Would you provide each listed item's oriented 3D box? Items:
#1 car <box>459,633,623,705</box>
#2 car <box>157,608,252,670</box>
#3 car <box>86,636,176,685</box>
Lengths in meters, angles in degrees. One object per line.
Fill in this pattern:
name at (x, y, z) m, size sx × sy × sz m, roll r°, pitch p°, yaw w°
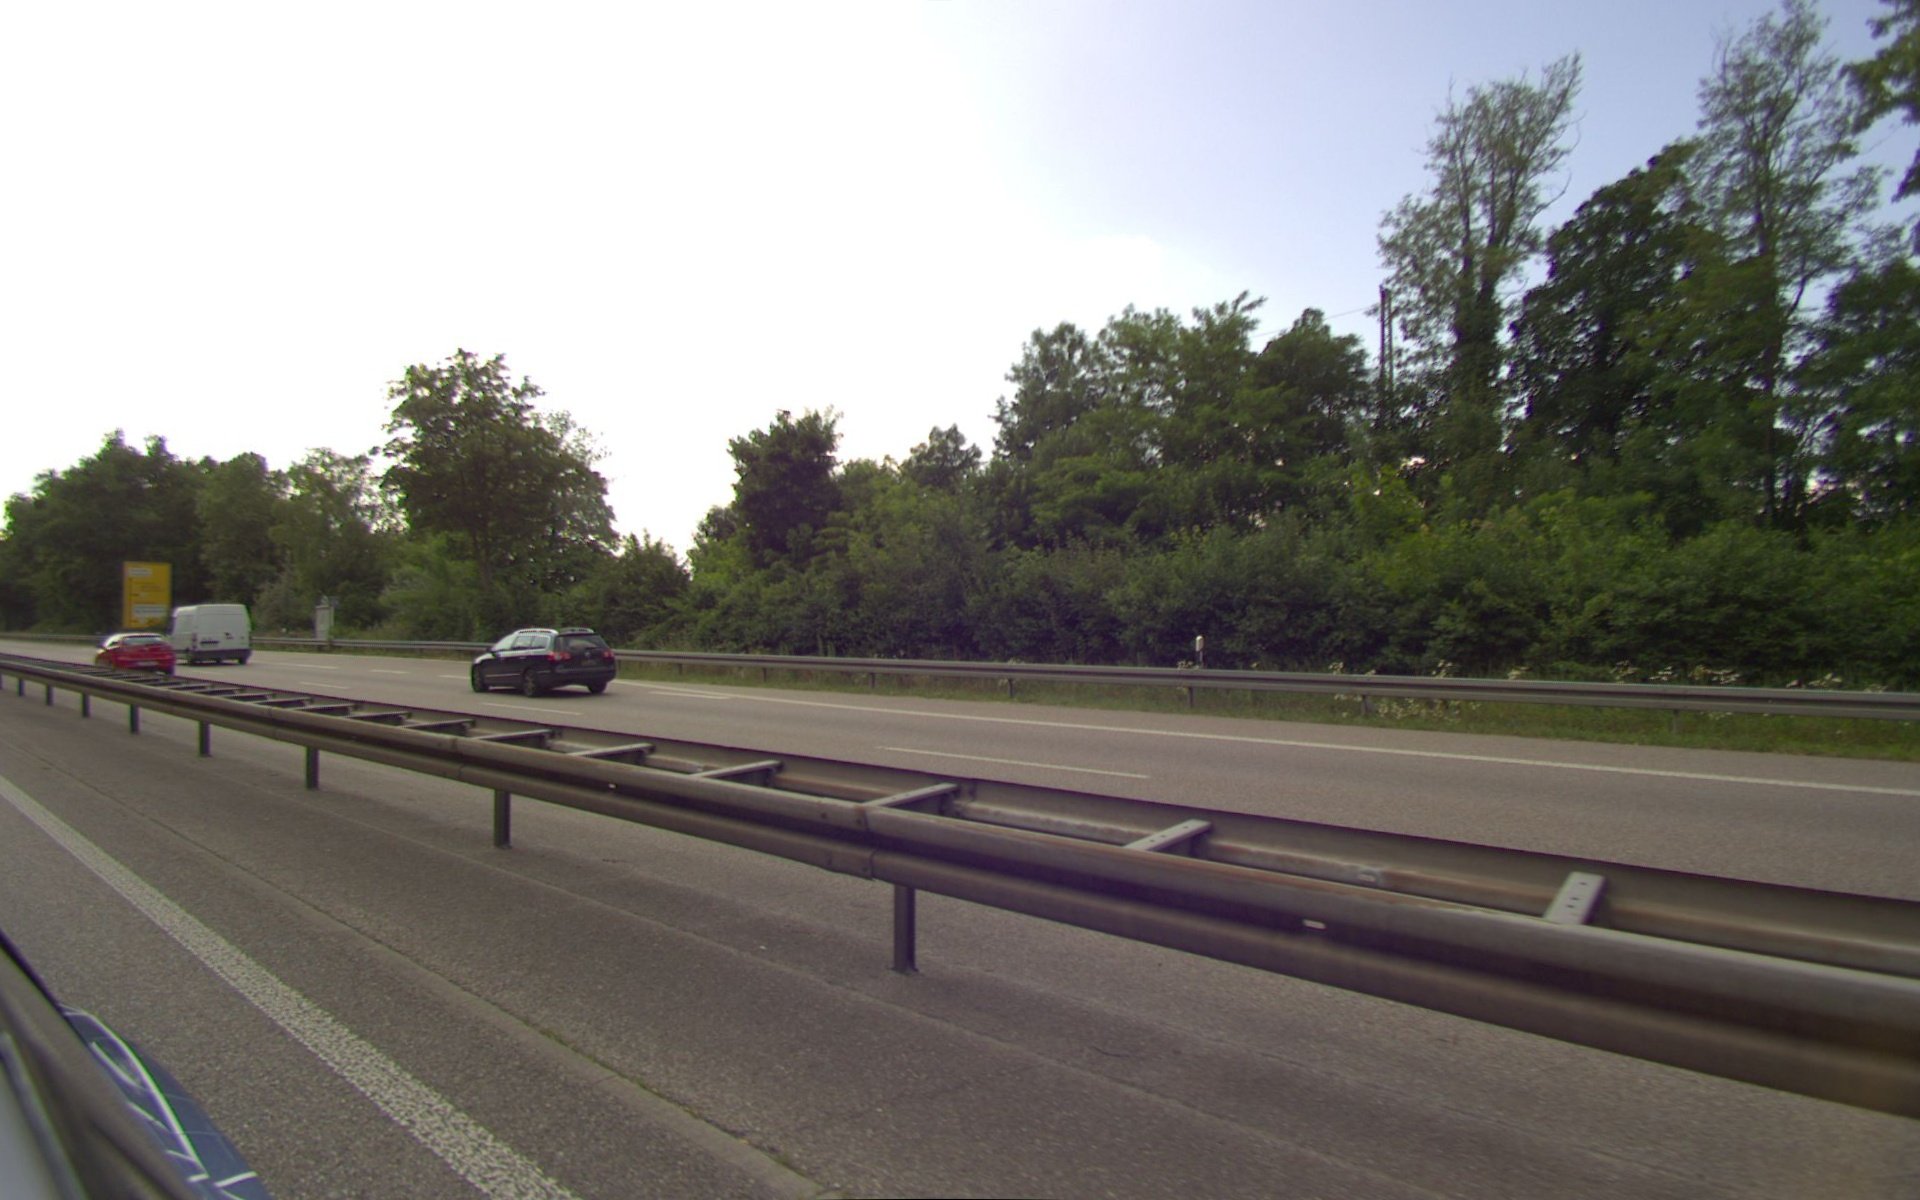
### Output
car at (-9.938, 1.542, 23.846) m, size 4.568 × 1.489 × 1.767 m, roll -2°, pitch -1°, yaw 42°
car at (-31.855, 1.610, 42.610) m, size 5.828 × 2.441 × 2.089 m, roll -2°, pitch -1°, yaw 42°
car at (-27.302, 1.941, 33.277) m, size 4.126 × 1.465 × 1.660 m, roll -2°, pitch -2°, yaw 42°
